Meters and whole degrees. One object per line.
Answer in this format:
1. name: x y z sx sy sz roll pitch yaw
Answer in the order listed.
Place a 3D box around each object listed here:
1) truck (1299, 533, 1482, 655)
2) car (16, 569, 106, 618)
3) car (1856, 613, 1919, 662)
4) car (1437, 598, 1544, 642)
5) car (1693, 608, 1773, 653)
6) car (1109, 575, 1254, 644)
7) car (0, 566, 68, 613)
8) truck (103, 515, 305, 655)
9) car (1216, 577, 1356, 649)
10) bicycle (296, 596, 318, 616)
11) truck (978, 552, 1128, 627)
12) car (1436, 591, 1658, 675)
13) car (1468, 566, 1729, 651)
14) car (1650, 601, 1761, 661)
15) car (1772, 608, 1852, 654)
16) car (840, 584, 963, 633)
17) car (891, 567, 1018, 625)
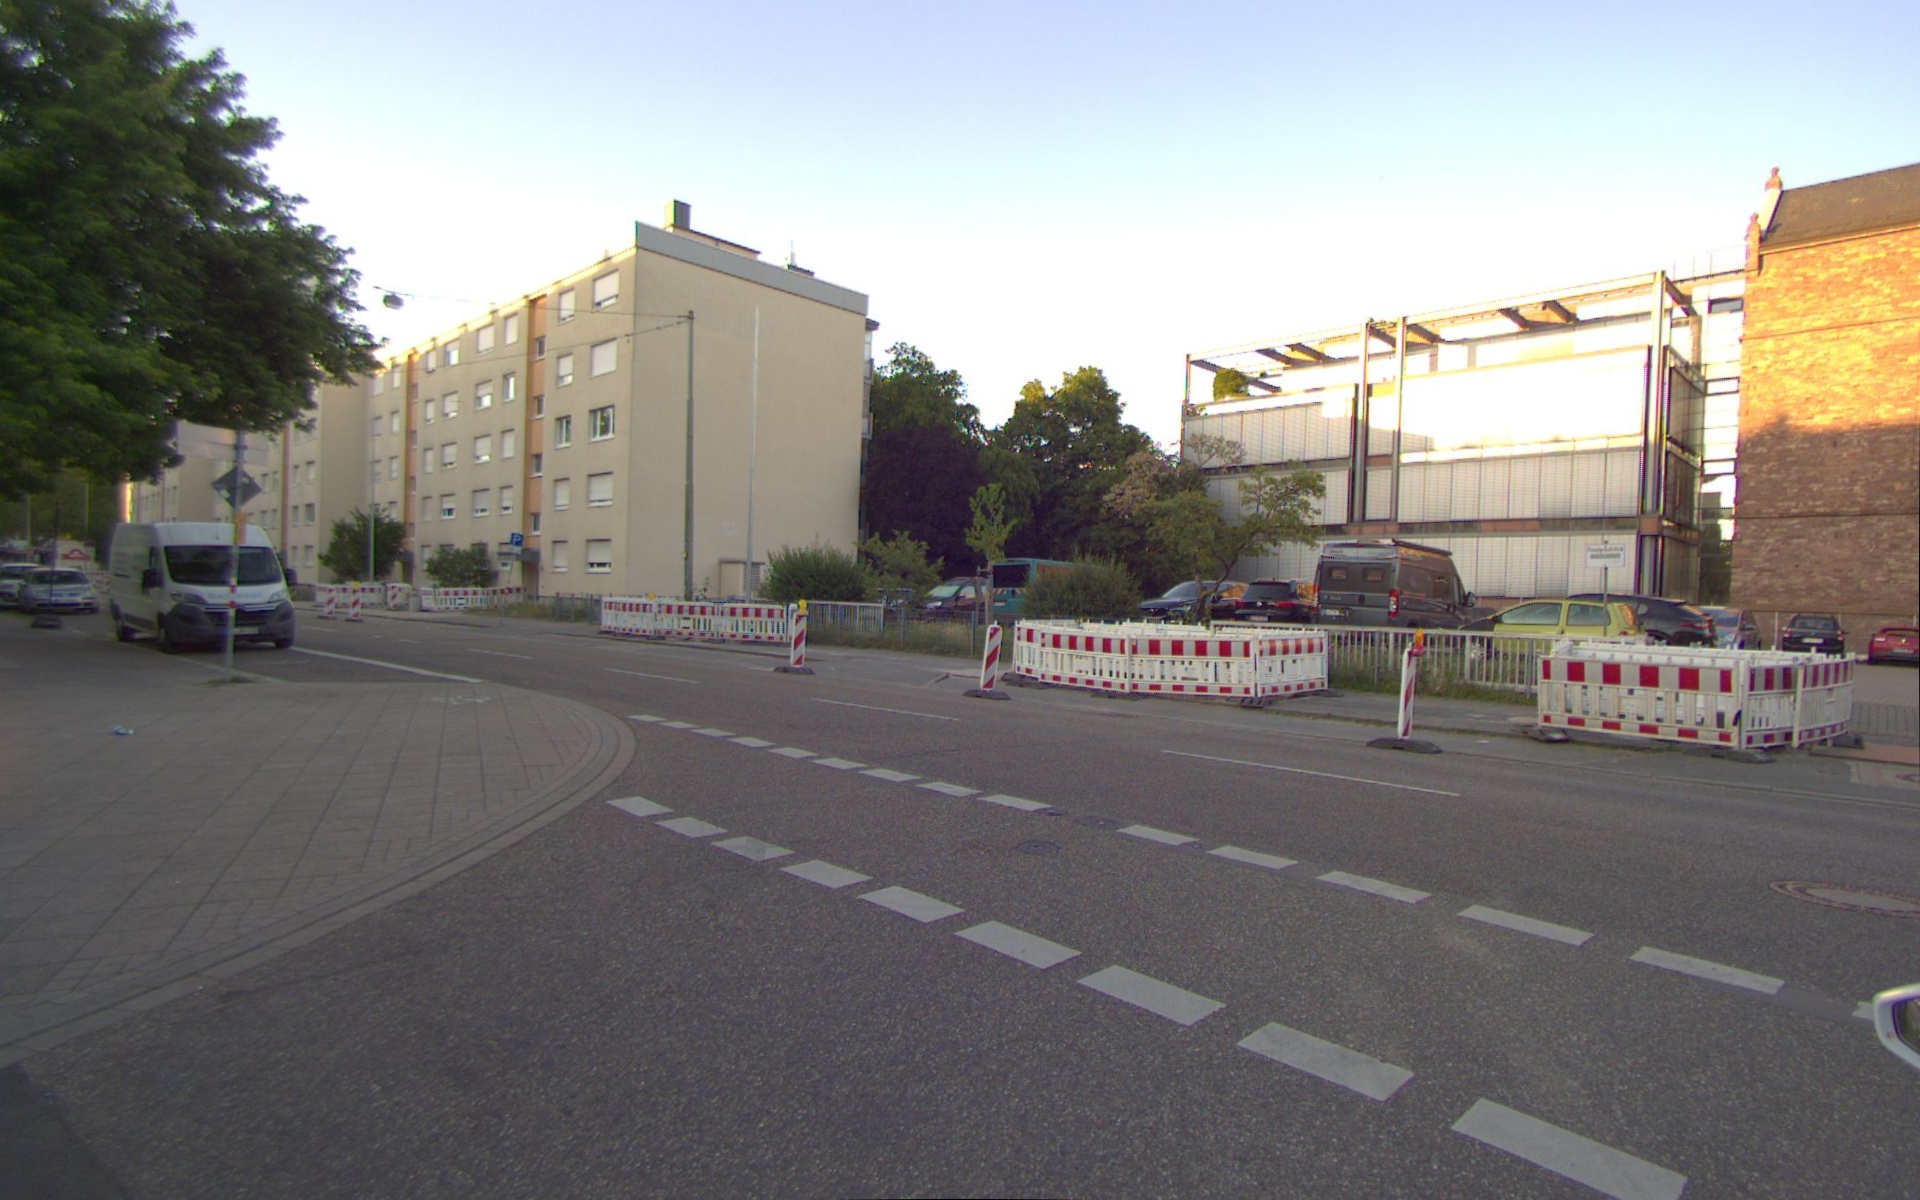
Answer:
1. truck: 10.537 -0.117 24.391 4.939 2.652 2.311 1 1 -44
2. car: -29.571 -0.254 33.002 3.870 1.503 1.752 2 3 42
3. car: 32.837 1.273 35.183 4.151 1.558 1.877 1 1 -45
4. car: 17.739 0.644 33.509 4.336 1.323 1.920 1 1 -45
5. car: 29.790 1.145 38.674 4.151 1.558 1.877 1 1 -45
6. car: 6.169 0.247 27.684 1.972 1.750 4.276 2 1 43
7. car: -33.925 -0.421 36.552 3.870 1.626 1.752 2 3 42
8. truck: -15.495 -0.342 20.438 5.956 2.455 2.097 2 2 41
9. car: 8.612 0.316 26.349 1.972 1.715 3.977 2 1 43
10. bicycle: -39.404 0.374 60.597 2.204 1.121 0.615 2 0 44
11. truck: 2.905 -0.280 30.892 4.478 2.118 2.086 1 0 -42
12. car: 11.916 0.608 20.526 1.625 1.524 3.597 1 0 -43
13. car: 13.763 0.139 21.875 1.564 1.660 4.540 1 0 -42
14. car: 22.002 0.863 29.585 4.336 1.597 1.973 1 1 -45
15. car: 31.542 1.098 37.132 4.151 1.558 1.877 1 1 -45
16. car: -2.061 0.320 36.376 1.973 1.669 4.200 2 0 45
17. car: -0.134 -0.112 34.652 1.973 1.850 4.200 2 0 45
